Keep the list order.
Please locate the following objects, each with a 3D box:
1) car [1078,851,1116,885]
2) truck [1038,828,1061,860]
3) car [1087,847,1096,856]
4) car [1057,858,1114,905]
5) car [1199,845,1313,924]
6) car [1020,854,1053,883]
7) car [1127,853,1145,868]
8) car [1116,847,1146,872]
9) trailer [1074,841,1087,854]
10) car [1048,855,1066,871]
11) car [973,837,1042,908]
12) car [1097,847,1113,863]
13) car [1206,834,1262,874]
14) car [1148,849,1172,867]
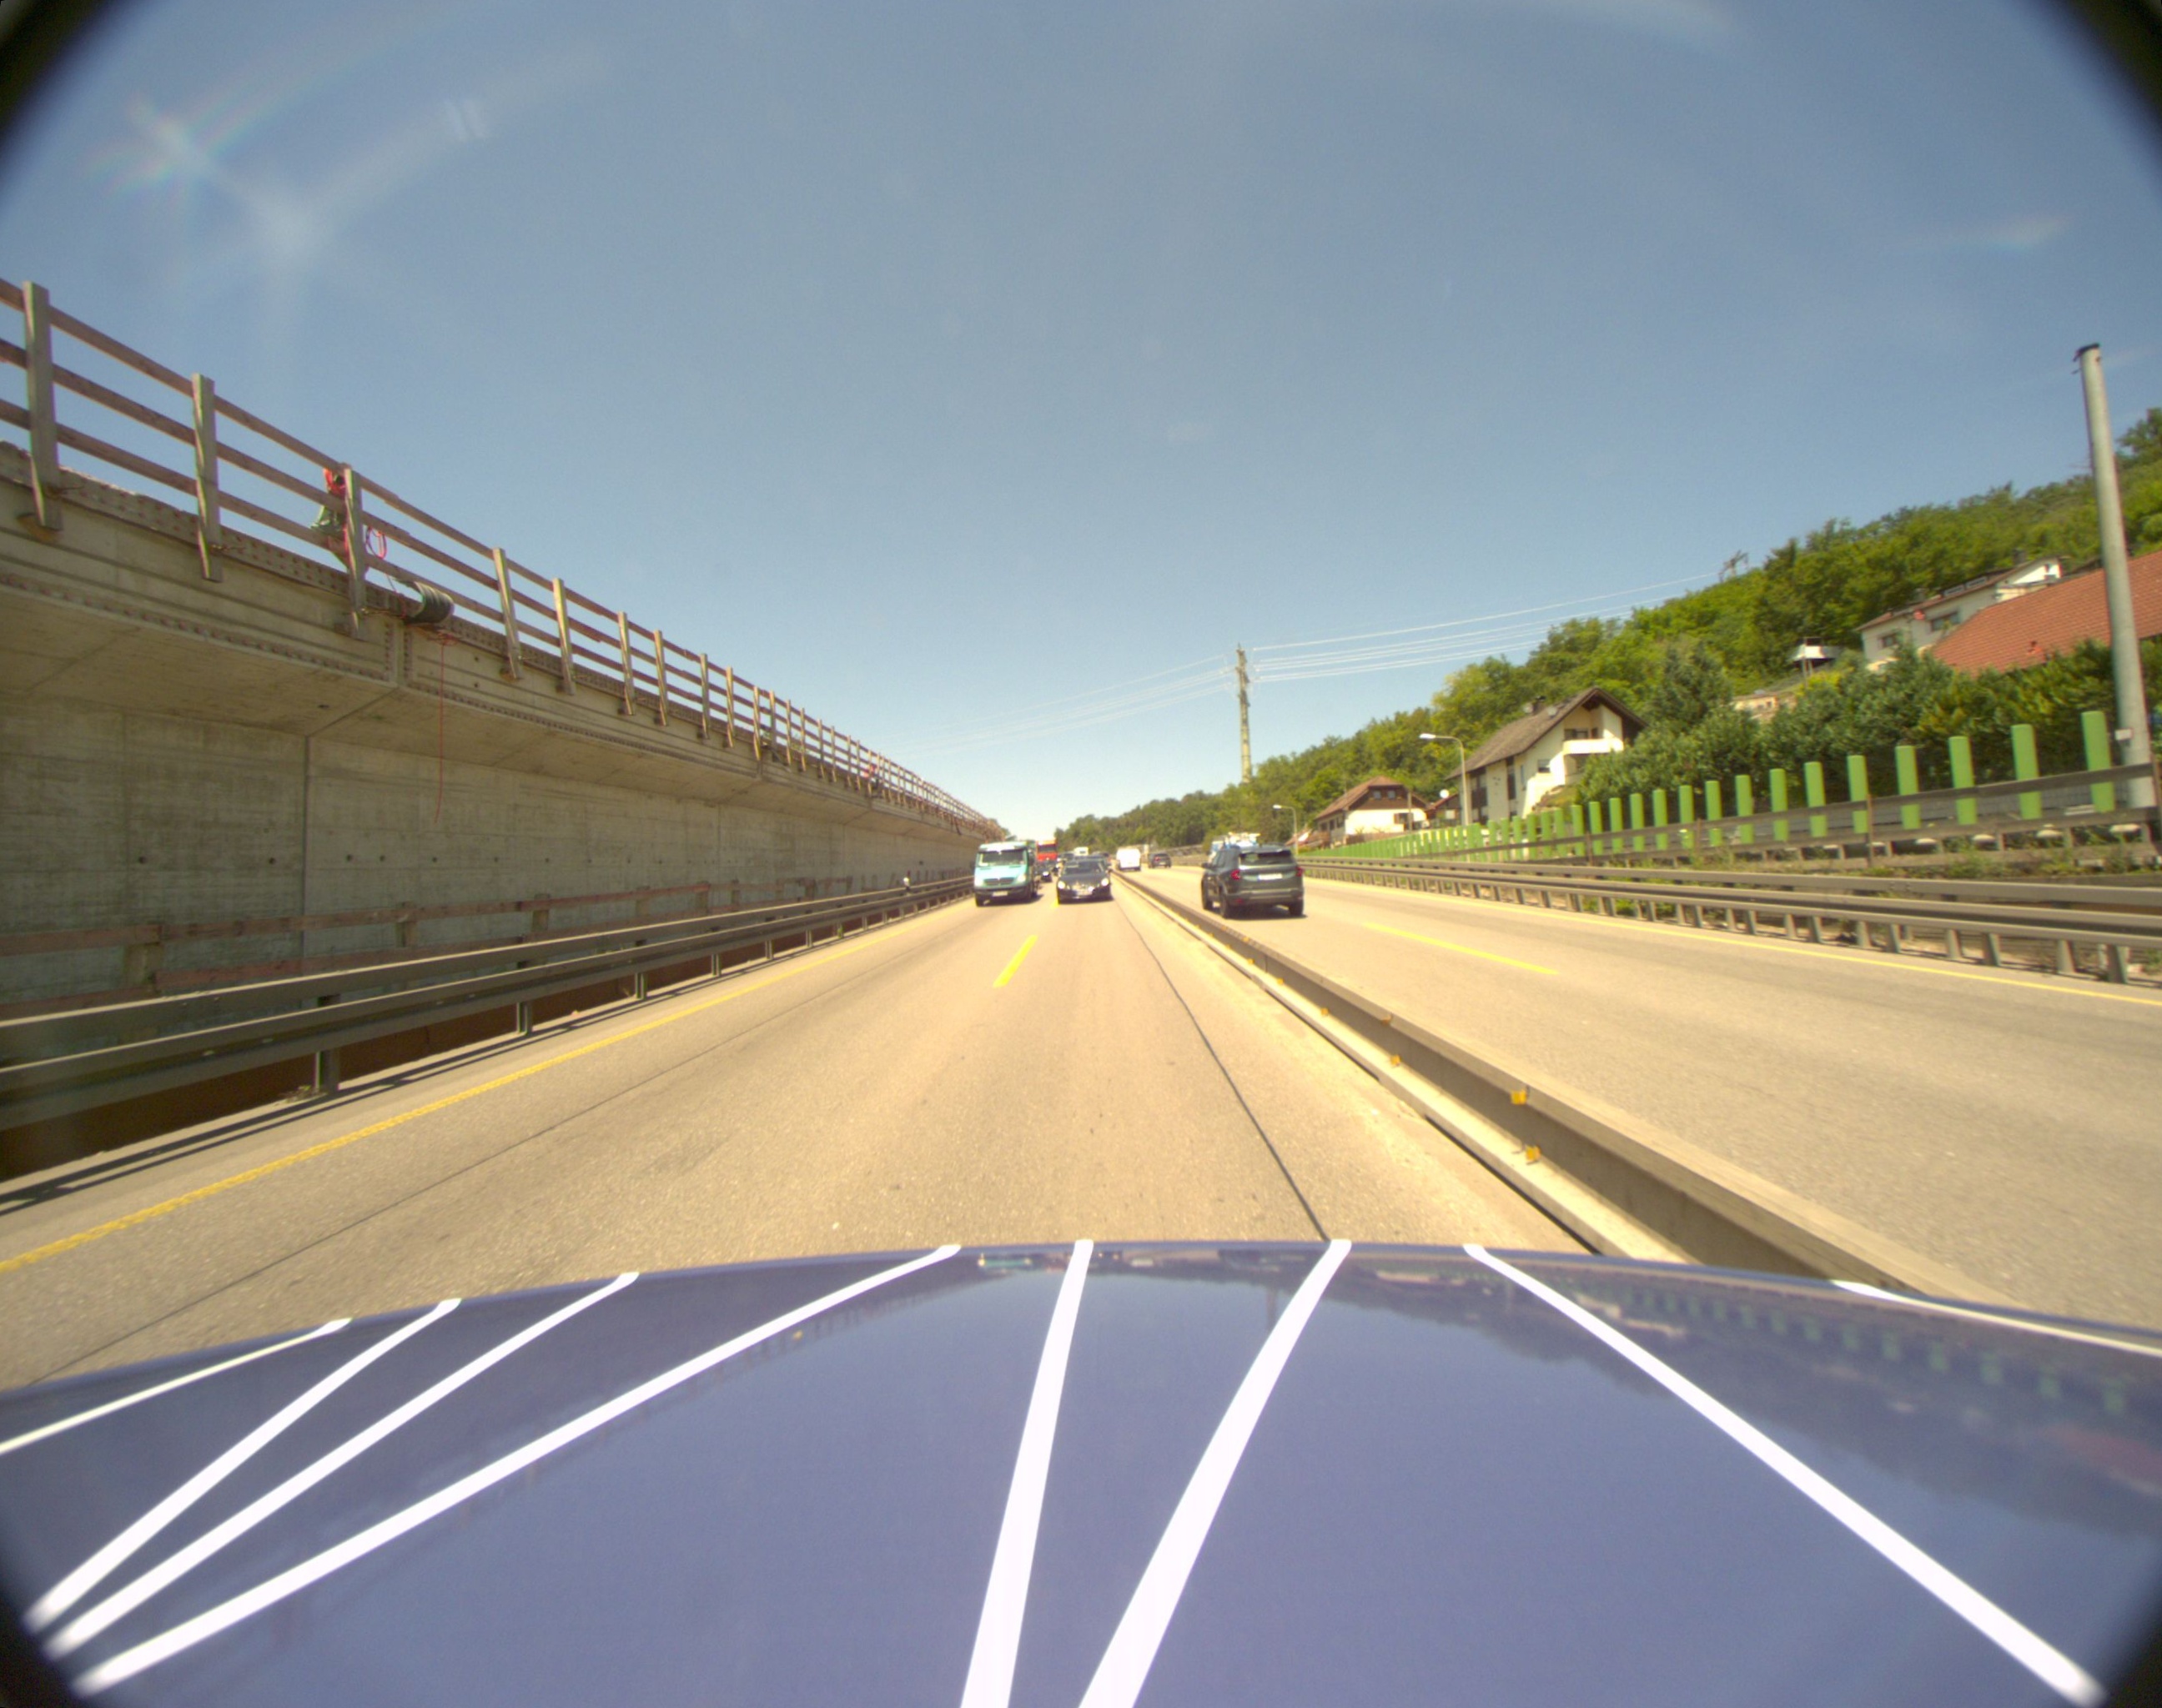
[{"bbox_3d":[0.825,0.735,41.969,1.859,1.650,3.999,-4,1,-1],"label":"car"},{"bbox_3d":[-4.150,-1.313,102.673,2.651,3.978,11.194,-4,1,-1],"label":"truck"},{"bbox_3d":[2.496,-0.549,174.607,1.998,2.002,4.000,-2,0,1],"label":"car"},{"bbox_3d":[0.091,0.916,26.828,1.793,1.440,4.297,-2,0,-1],"label":"car"},{"bbox_3d":[4.026,0.644,18.145,1.779,1.624,4.100,-2,0,1],"label":"car"},{"bbox_3d":[-2.852,0.915,49.640,1.859,1.650,3.999,-4,1,0],"label":"car"},{"bbox_3d":[7.079,0.842,98.010,1.998,1.816,4.509,-1,-1,0],"label":"car"},{"bbox_3d":[4.253,0.446,65.241,2.162,1.895,5.325,-3,1,1],"label":"car"},{"bbox_3d":[-0.049,-1.369,164.712,2.606,2.573,6.240,-3,1,-1],"label":"trailer"},{"bbox_3d":[-2.664,1.002,83.706,1.674,1.499,3.648,-4,1,1],"label":"car"},{"bbox_3d":[-2.752,0.638,30.091,1.968,2.367,7.209,-3,0,-1],"label":"car"},{"bbox_3d":[3.119,0.076,98.750,1.998,2.002,4.968,-2,1,1],"label":"car"},{"bbox_3d":[8.067,0.008,40.589,1.830,1.914,5.243,-3,0,0],"label":"car"},{"bbox_3d":[7.309,0.349,70.409,1.753,1.434,4.052,-3,1,1],"label":"car"}]
